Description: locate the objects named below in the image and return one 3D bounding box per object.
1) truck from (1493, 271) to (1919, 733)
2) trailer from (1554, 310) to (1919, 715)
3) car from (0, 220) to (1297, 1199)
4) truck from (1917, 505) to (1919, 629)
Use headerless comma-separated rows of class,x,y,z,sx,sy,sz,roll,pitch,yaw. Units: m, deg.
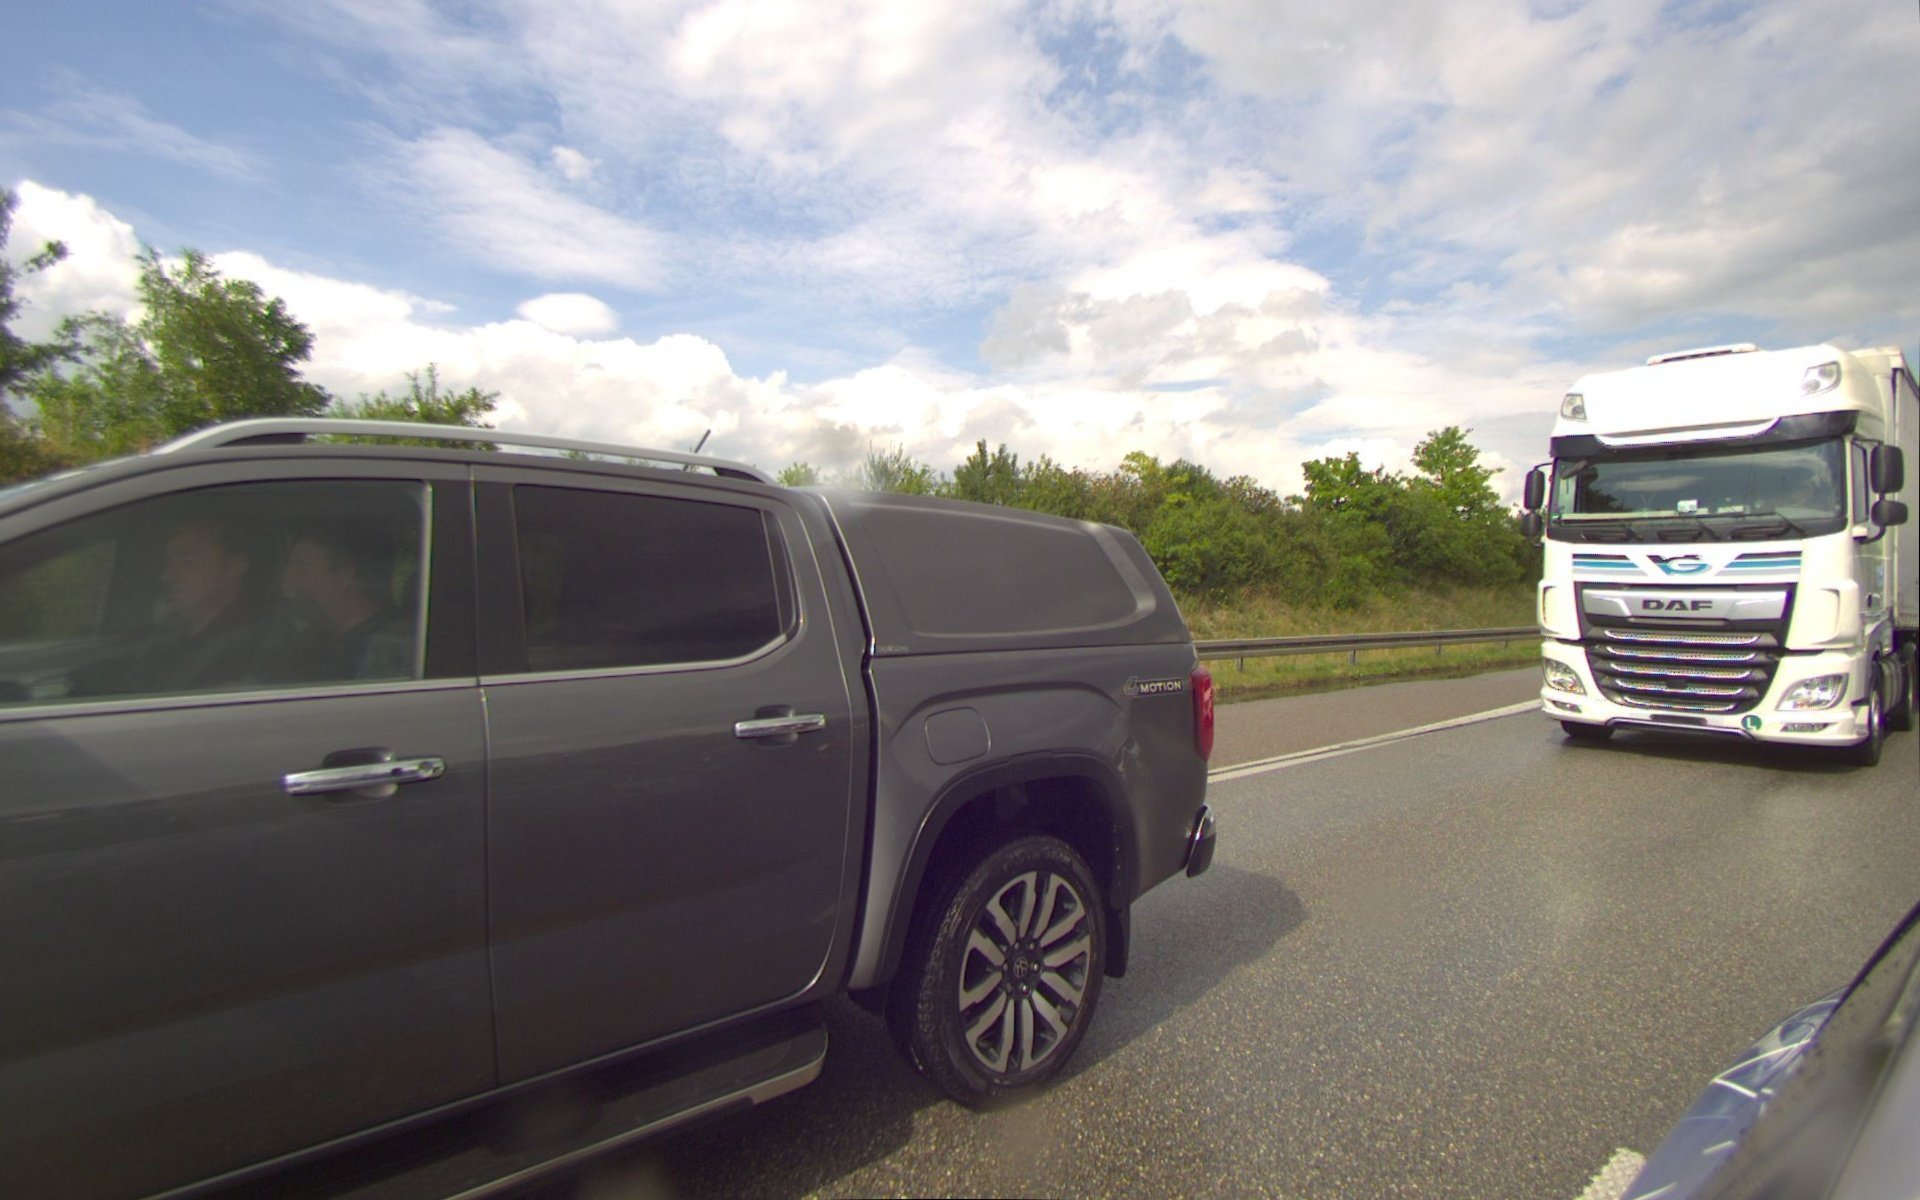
truck,9.246,-0.846,11.985,6.287,3.940,3.288,0,0,-43
trailer,13.381,-0.869,15.735,13.889,3.948,3.287,0,0,-43
car,-1.400,0.412,2.755,5.556,1.943,1.944,-1,0,-42
truck,36.665,-1.176,36.725,2.644,4.328,6.774,0,0,45
